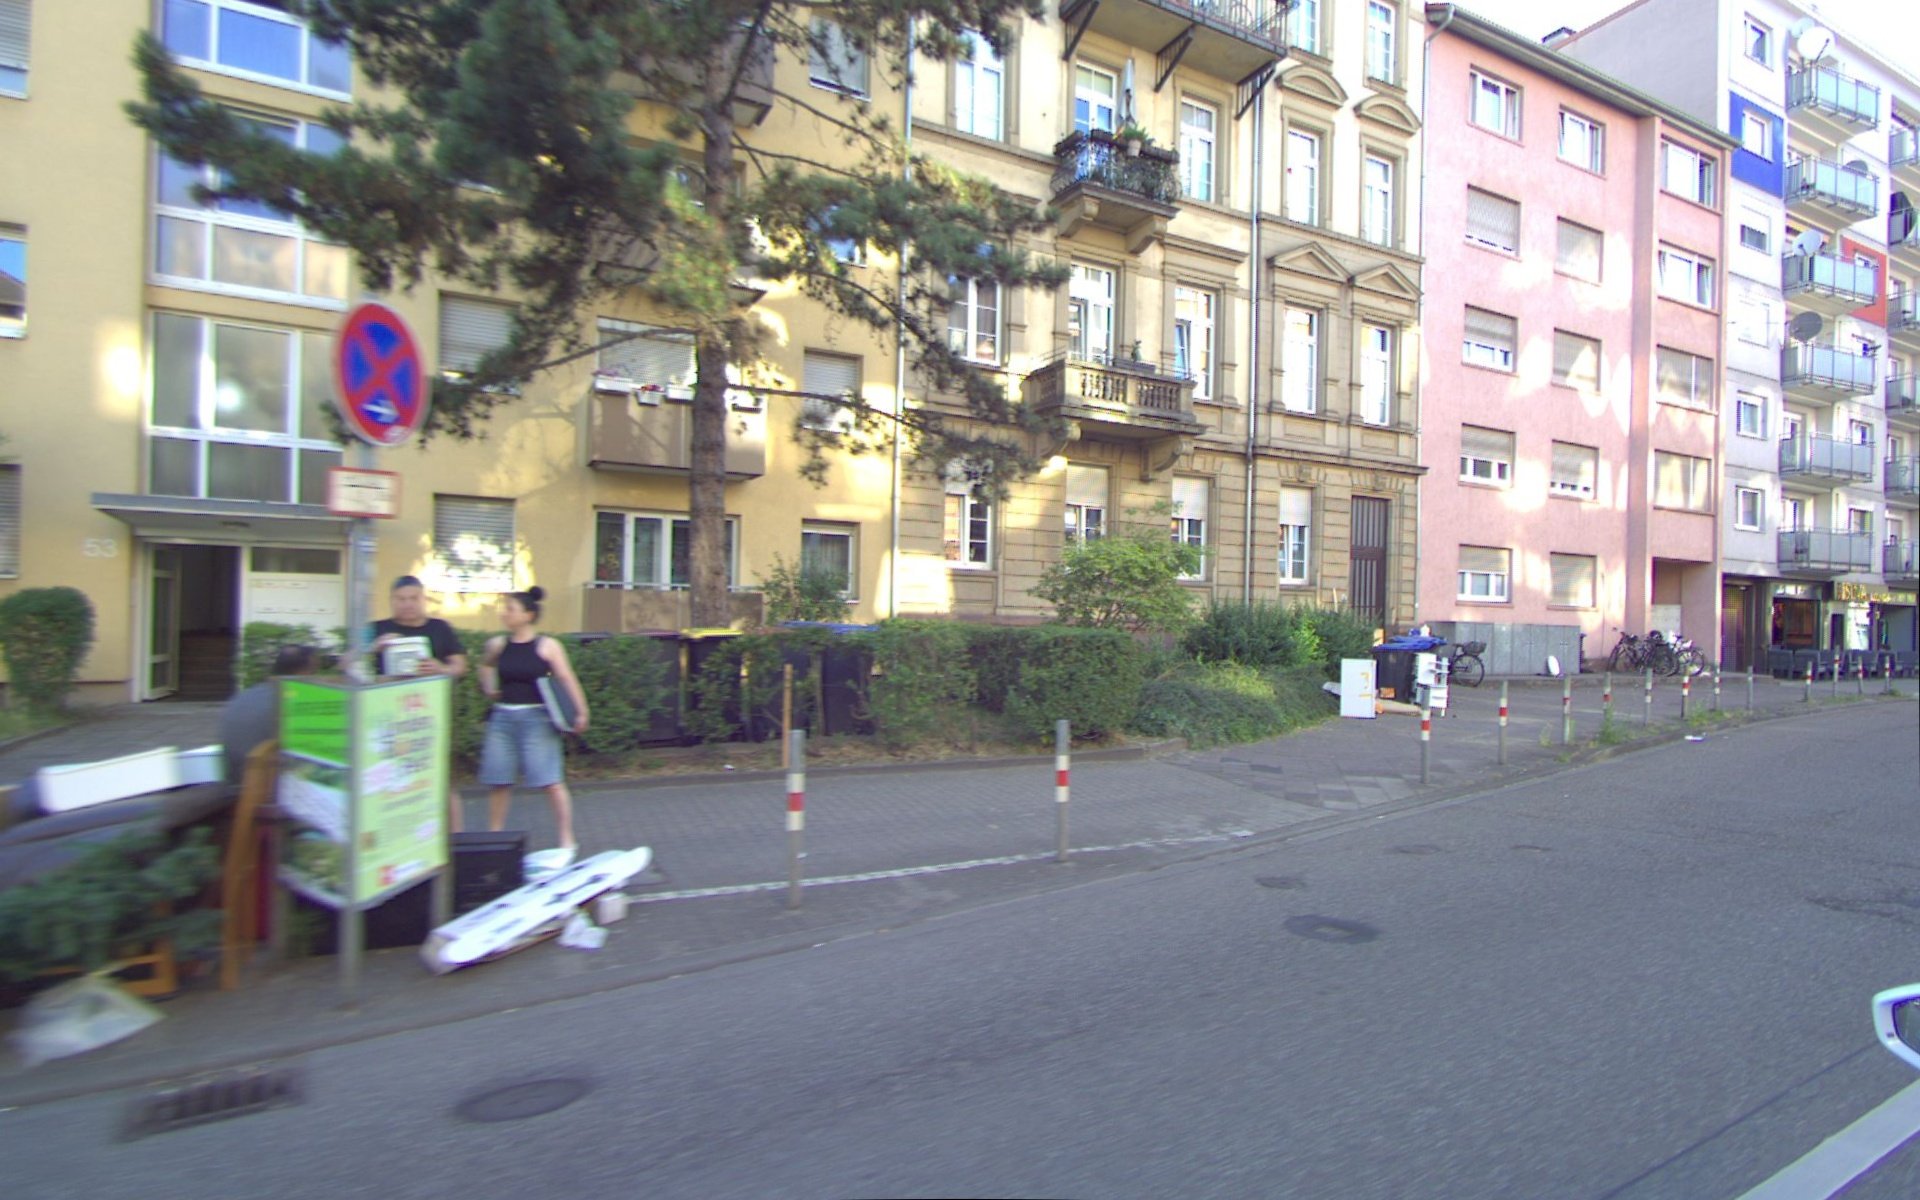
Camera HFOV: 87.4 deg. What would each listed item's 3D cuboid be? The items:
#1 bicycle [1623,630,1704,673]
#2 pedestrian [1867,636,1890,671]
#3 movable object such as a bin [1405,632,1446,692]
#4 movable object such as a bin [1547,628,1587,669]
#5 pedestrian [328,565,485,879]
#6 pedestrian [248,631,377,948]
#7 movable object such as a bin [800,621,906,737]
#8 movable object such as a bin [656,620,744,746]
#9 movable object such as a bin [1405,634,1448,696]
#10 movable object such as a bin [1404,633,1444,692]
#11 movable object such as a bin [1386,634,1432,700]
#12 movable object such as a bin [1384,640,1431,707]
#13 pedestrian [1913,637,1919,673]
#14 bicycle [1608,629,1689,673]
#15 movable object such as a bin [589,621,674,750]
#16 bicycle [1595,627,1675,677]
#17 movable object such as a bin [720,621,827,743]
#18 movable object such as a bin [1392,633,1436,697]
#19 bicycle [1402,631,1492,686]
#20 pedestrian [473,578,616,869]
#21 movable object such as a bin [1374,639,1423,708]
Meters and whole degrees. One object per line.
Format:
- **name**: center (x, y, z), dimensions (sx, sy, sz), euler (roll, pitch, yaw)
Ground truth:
- **bicycle**: center (18.772, 1.362, 26.824), dimensions (0.545, 1.054, 1.654), euler (2, 0, -42)
- **pedestrian**: center (33.467, 1.939, 36.600), dimensions (0.514, 1.219, 0.551), euler (1, -1, 31)
- **movable object such as a bin**: center (9.166, 1.210, 19.775), dimensions (0.631, 1.125, 0.582), euler (3, 1, 32)
- **movable object such as a bin**: center (15.630, 1.244, 25.857), dimensions (0.582, 1.045, 0.672), euler (1, -1, -28)
- **pedestrian**: center (-3.171, 0.661, 5.759), dimensions (0.718, 1.674, 0.477), euler (1, -1, -34)
- **pedestrian**: center (-3.125, 0.863, 4.862), dimensions (0.475, 1.396, 0.555), euler (1, 1, -33)
- **movable object such as a bin**: center (-1.096, 0.774, 10.201), dimensions (0.760, 1.065, 0.863), euler (1, 2, -29)
- **movable object such as a bin**: center (-2.433, 0.747, 9.362), dimensions (0.575, 1.065, 0.863), euler (1, 2, -29)
- **movable object such as a bin**: center (8.922, 1.232, 19.216), dimensions (0.631, 1.125, 0.582), euler (3, 1, 32)
- **movable object such as a bin**: center (9.418, 1.262, 20.392), dimensions (0.631, 1.125, 0.582), euler (3, 1, 32)
- **movable object such as a bin**: center (8.125, 1.194, 18.181), dimensions (0.631, 1.125, 0.582), euler (3, 1, 32)
- **movable object such as a bin**: center (7.807, 1.270, 17.523), dimensions (0.631, 1.082, 0.626), euler (3, 1, 32)
- **pedestrian**: center (37.324, 2.132, 38.853), dimensions (0.472, 1.402, 0.484), euler (1, 0, -7)
- **bicycle**: center (18.070, 1.333, 26.400), dimensions (0.544, 1.054, 1.659), euler (2, 0, -34)
- **movable object such as a bin**: center (-3.007, 0.753, 9.167), dimensions (0.575, 1.065, 0.808), euler (1, 2, -29)
- **bicycle**: center (17.414, 1.331, 25.934), dimensions (1.648, 1.175, 0.494), euler (2, 0, 37)
- **movable object such as a bin**: center (-1.822, 0.766, 9.734), dimensions (0.760, 1.065, 0.863), euler (1, 2, -29)
- **movable object such as a bin**: center (8.467, 1.195, 18.732), dimensions (0.631, 1.125, 0.582), euler (3, 1, 32)
- **bicycle**: center (10.809, 1.275, 22.345), dimensions (0.654, 0.980, 1.641), euler (1, 5, -29)
- **pedestrian**: center (-2.586, 0.720, 6.239), dimensions (0.690, 1.674, 0.601), euler (1, -1, -34)
- **movable object such as a bin**: center (7.416, 1.232, 16.984), dimensions (0.631, 1.098, 0.582), euler (3, 1, 32)
